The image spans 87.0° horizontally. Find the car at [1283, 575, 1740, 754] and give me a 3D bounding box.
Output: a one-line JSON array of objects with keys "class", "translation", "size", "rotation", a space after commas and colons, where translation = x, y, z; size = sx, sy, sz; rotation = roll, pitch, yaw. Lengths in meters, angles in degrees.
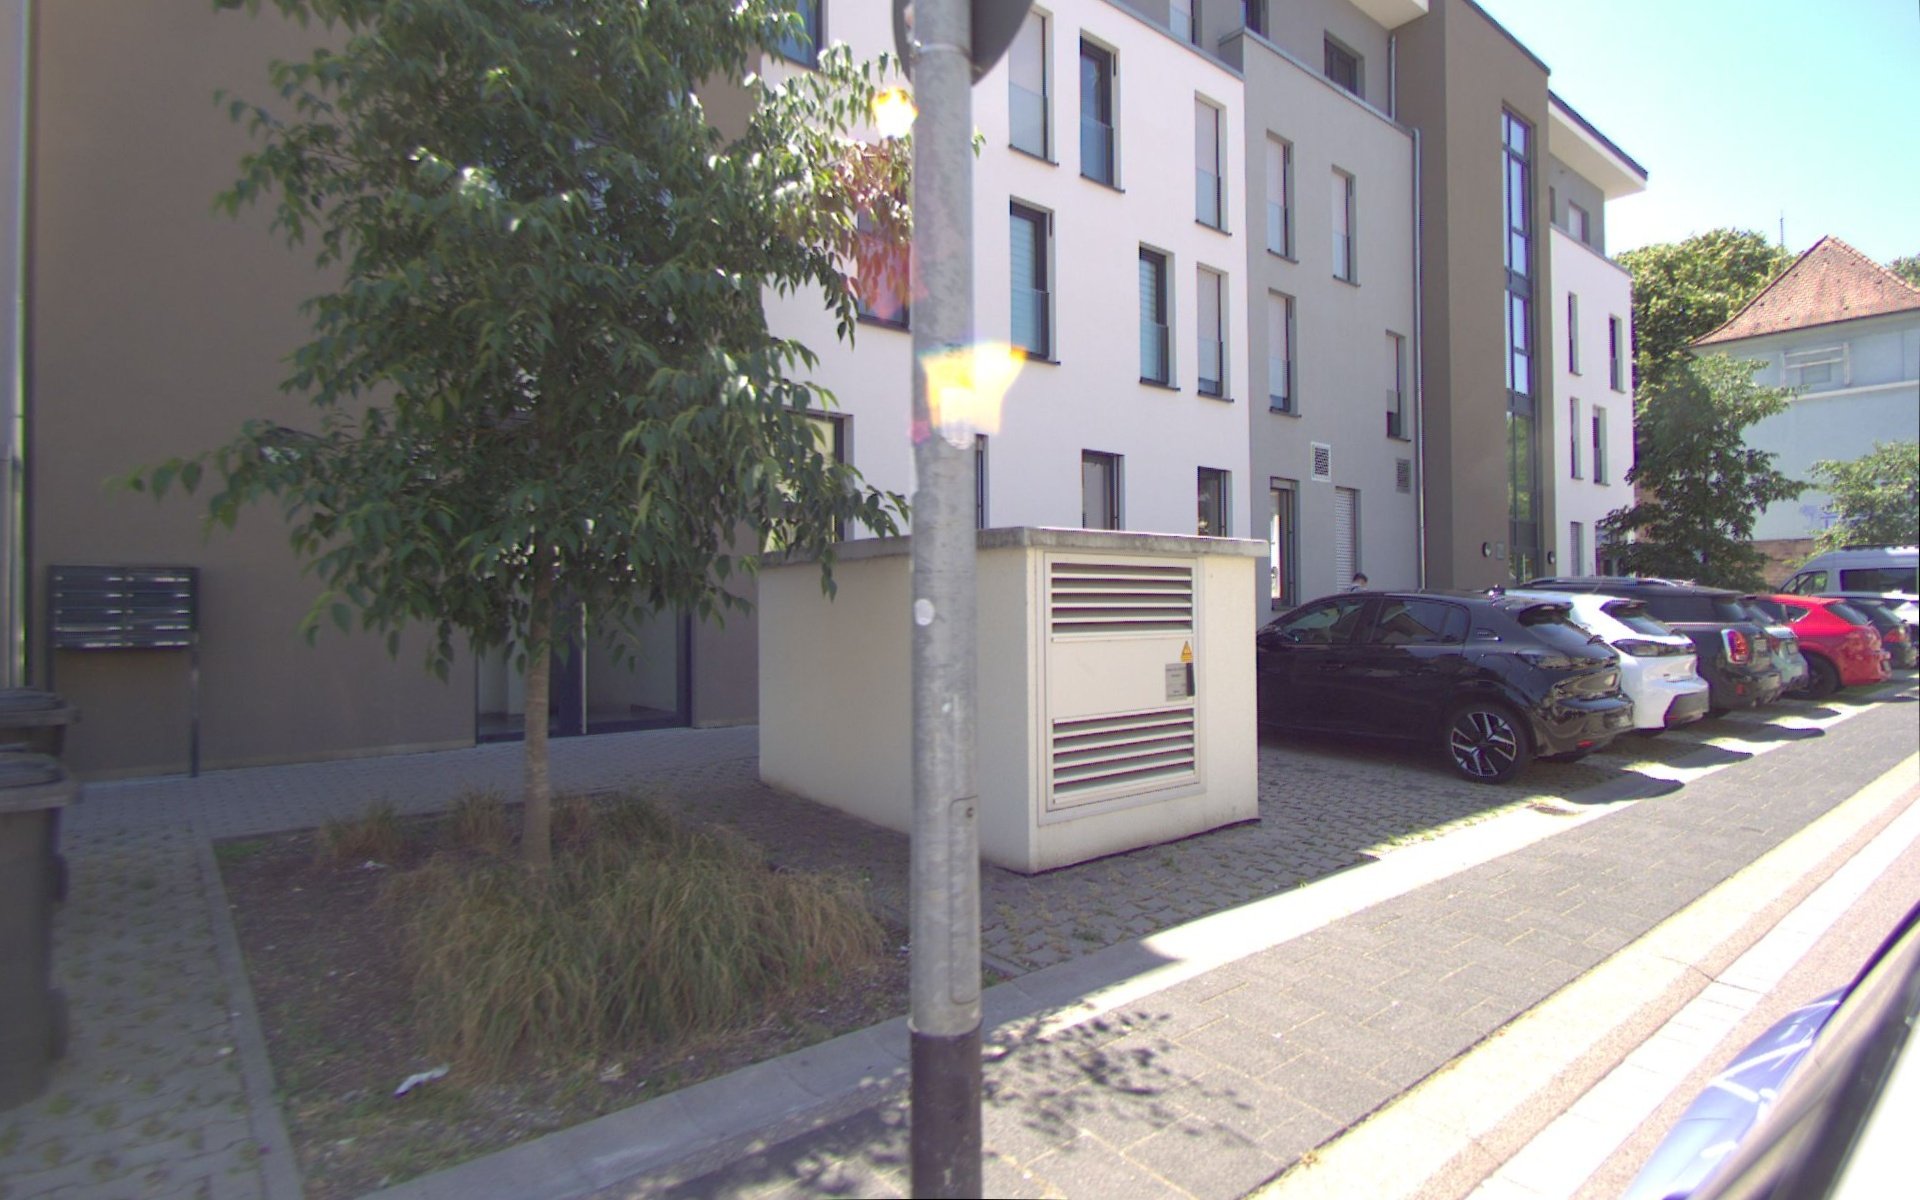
[{"class": "car", "translation": [5.532, 0.524, 10.509], "size": [1.747, 1.501, 3.814], "rotation": [0, 0, -41]}]

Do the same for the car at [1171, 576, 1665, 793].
[{"class": "car", "translation": [3.771, 0.539, 8.873], "size": [1.507, 1.463, 3.667], "rotation": [0, 2, -37]}]

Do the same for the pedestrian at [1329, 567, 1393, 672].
[{"class": "pedestrian", "translation": [6.699, 0.316, 16.909], "size": [0.989, 1.705, 0.576], "rotation": [0, -1, -39]}]

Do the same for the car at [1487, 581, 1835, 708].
[{"class": "car", "translation": [9.393, 0.490, 13.779], "size": [1.588, 1.480, 3.615], "rotation": [0, 1, -40]}]

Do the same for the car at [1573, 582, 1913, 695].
[{"class": "car", "translation": [11.640, 0.490, 15.242], "size": [1.623, 1.481, 3.815], "rotation": [0, 0, -40]}]

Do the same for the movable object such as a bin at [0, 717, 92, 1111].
[{"class": "movable object such as a bin", "translation": [-2.705, 0.842, 2.773], "size": [0.458, 0.942, 0.561], "rotation": [0, 1, -45]}]

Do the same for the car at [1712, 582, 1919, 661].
[{"class": "car", "translation": [18.848, 0.412, 21.470], "size": [1.688, 1.549, 4.379], "rotation": [0, 0, -39]}]

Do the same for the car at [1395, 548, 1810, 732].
[{"class": "car", "translation": [7.448, 0.377, 11.998], "size": [1.808, 1.809, 3.814], "rotation": [0, 0, -41]}]

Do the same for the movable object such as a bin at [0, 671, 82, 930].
[{"class": "movable object such as a bin", "translation": [-3.878, 0.791, 4.094], "size": [0.458, 0.942, 0.561], "rotation": [0, 1, -45]}]

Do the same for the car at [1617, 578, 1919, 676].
[{"class": "car", "translation": [14.714, 0.422, 18.443], "size": [1.624, 1.570, 4.353], "rotation": [0, 0, -42]}]

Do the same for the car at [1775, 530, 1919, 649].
[{"class": "car", "translation": [22.792, -0.251, 24.210], "size": [1.817, 2.770, 4.866], "rotation": [0, 0, -39]}]
